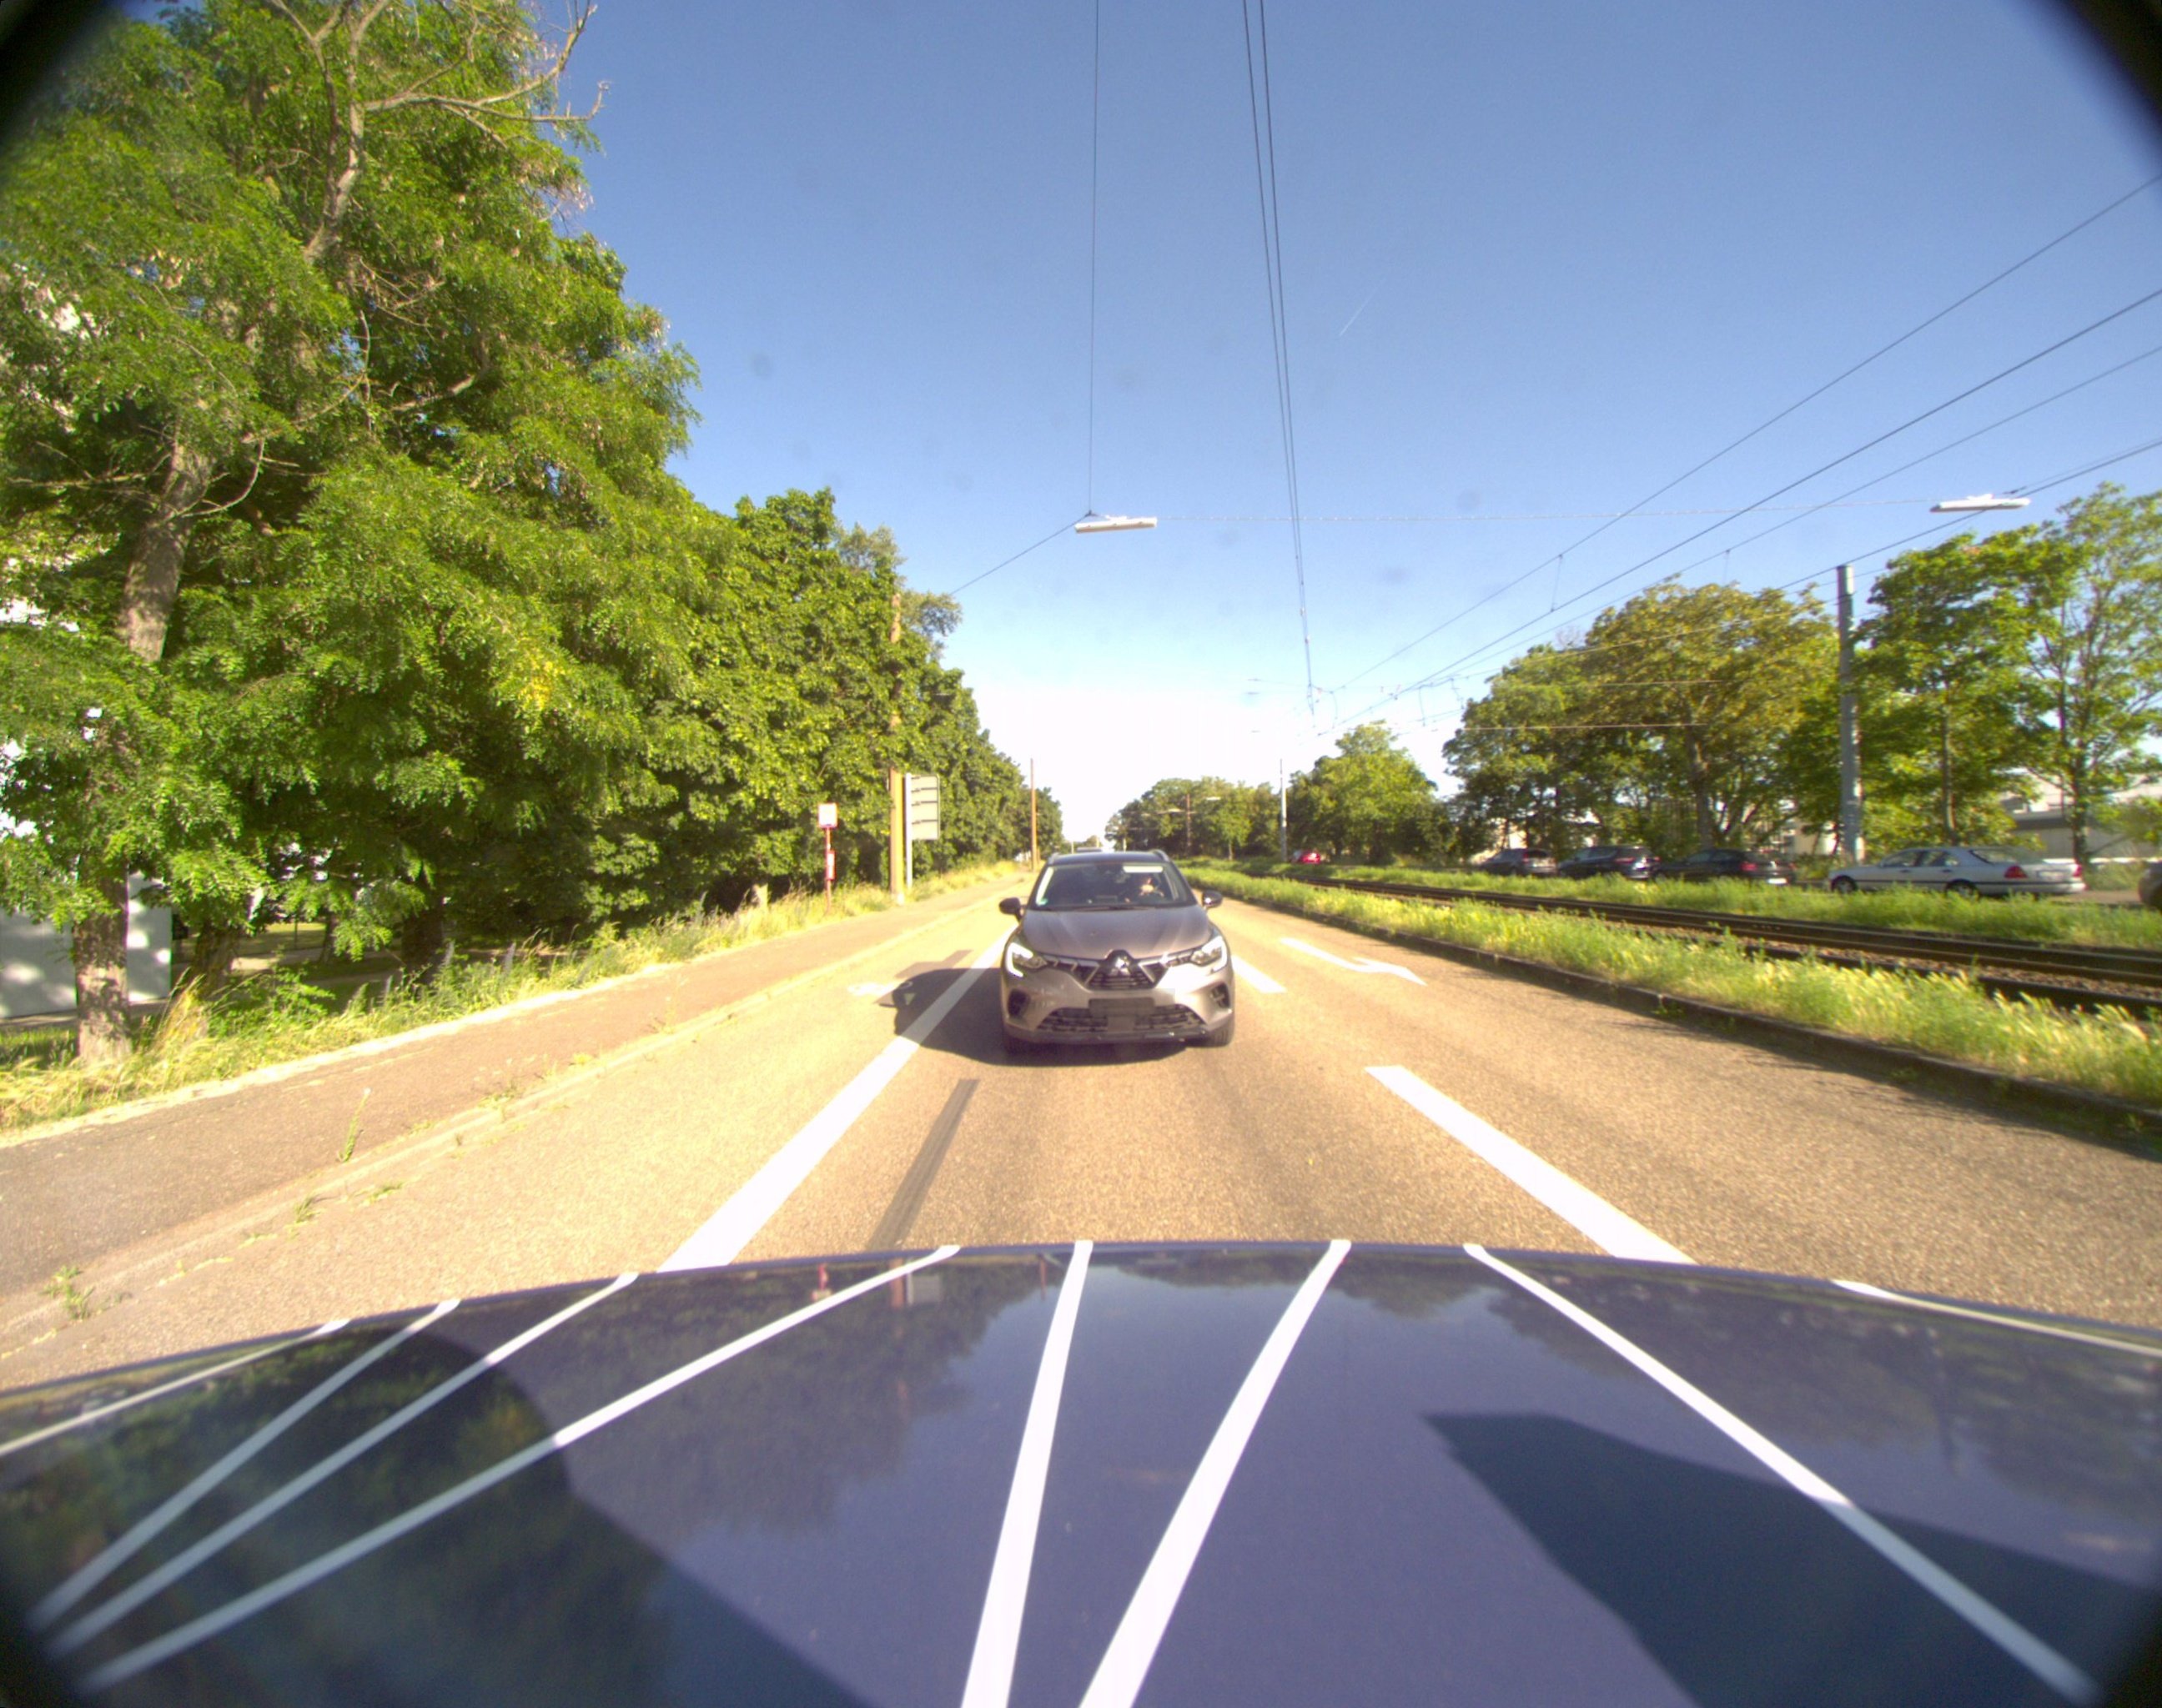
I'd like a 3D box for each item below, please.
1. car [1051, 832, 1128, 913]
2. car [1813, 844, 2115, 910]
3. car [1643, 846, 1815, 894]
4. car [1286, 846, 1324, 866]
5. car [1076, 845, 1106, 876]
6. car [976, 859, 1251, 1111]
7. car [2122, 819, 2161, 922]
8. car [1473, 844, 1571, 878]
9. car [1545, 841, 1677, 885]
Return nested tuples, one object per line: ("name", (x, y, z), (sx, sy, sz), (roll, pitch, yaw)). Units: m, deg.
("car", (0.253, 0.501, 22.379), (1.998, 2.113, 4.000), (-2, 0, 1))
("car", (21.543, 0.511, 18.929), (2.130, 1.372, 4.616), (-2, 0, -1))
("car", (21.343, 0.495, 25.323), (1.960, 1.417, 4.488), (-2, 0, 1))
("car", (21.001, 0.194, 71.462), (2.321, 1.723, 4.798), (-2, 0, 3))
("car", (0.701, 0.492, 55.953), (1.999, 2.198, 4.786), (-1, -1, -1))
("car", (0.178, 0.884, 7.313), (1.796, 1.583, 4.529), (-1, 0, -1))
("car", (21.242, 0.274, 12.369), (2.207, 1.923, 4.685), (-2, 0, 2))
("car", (21.564, 0.333, 37.403), (2.130, 1.554, 4.560), (-2, 0, 0))
("car", (21.305, 0.349, 30.820), (2.130, 1.578, 4.616), (-2, 0, 1))
